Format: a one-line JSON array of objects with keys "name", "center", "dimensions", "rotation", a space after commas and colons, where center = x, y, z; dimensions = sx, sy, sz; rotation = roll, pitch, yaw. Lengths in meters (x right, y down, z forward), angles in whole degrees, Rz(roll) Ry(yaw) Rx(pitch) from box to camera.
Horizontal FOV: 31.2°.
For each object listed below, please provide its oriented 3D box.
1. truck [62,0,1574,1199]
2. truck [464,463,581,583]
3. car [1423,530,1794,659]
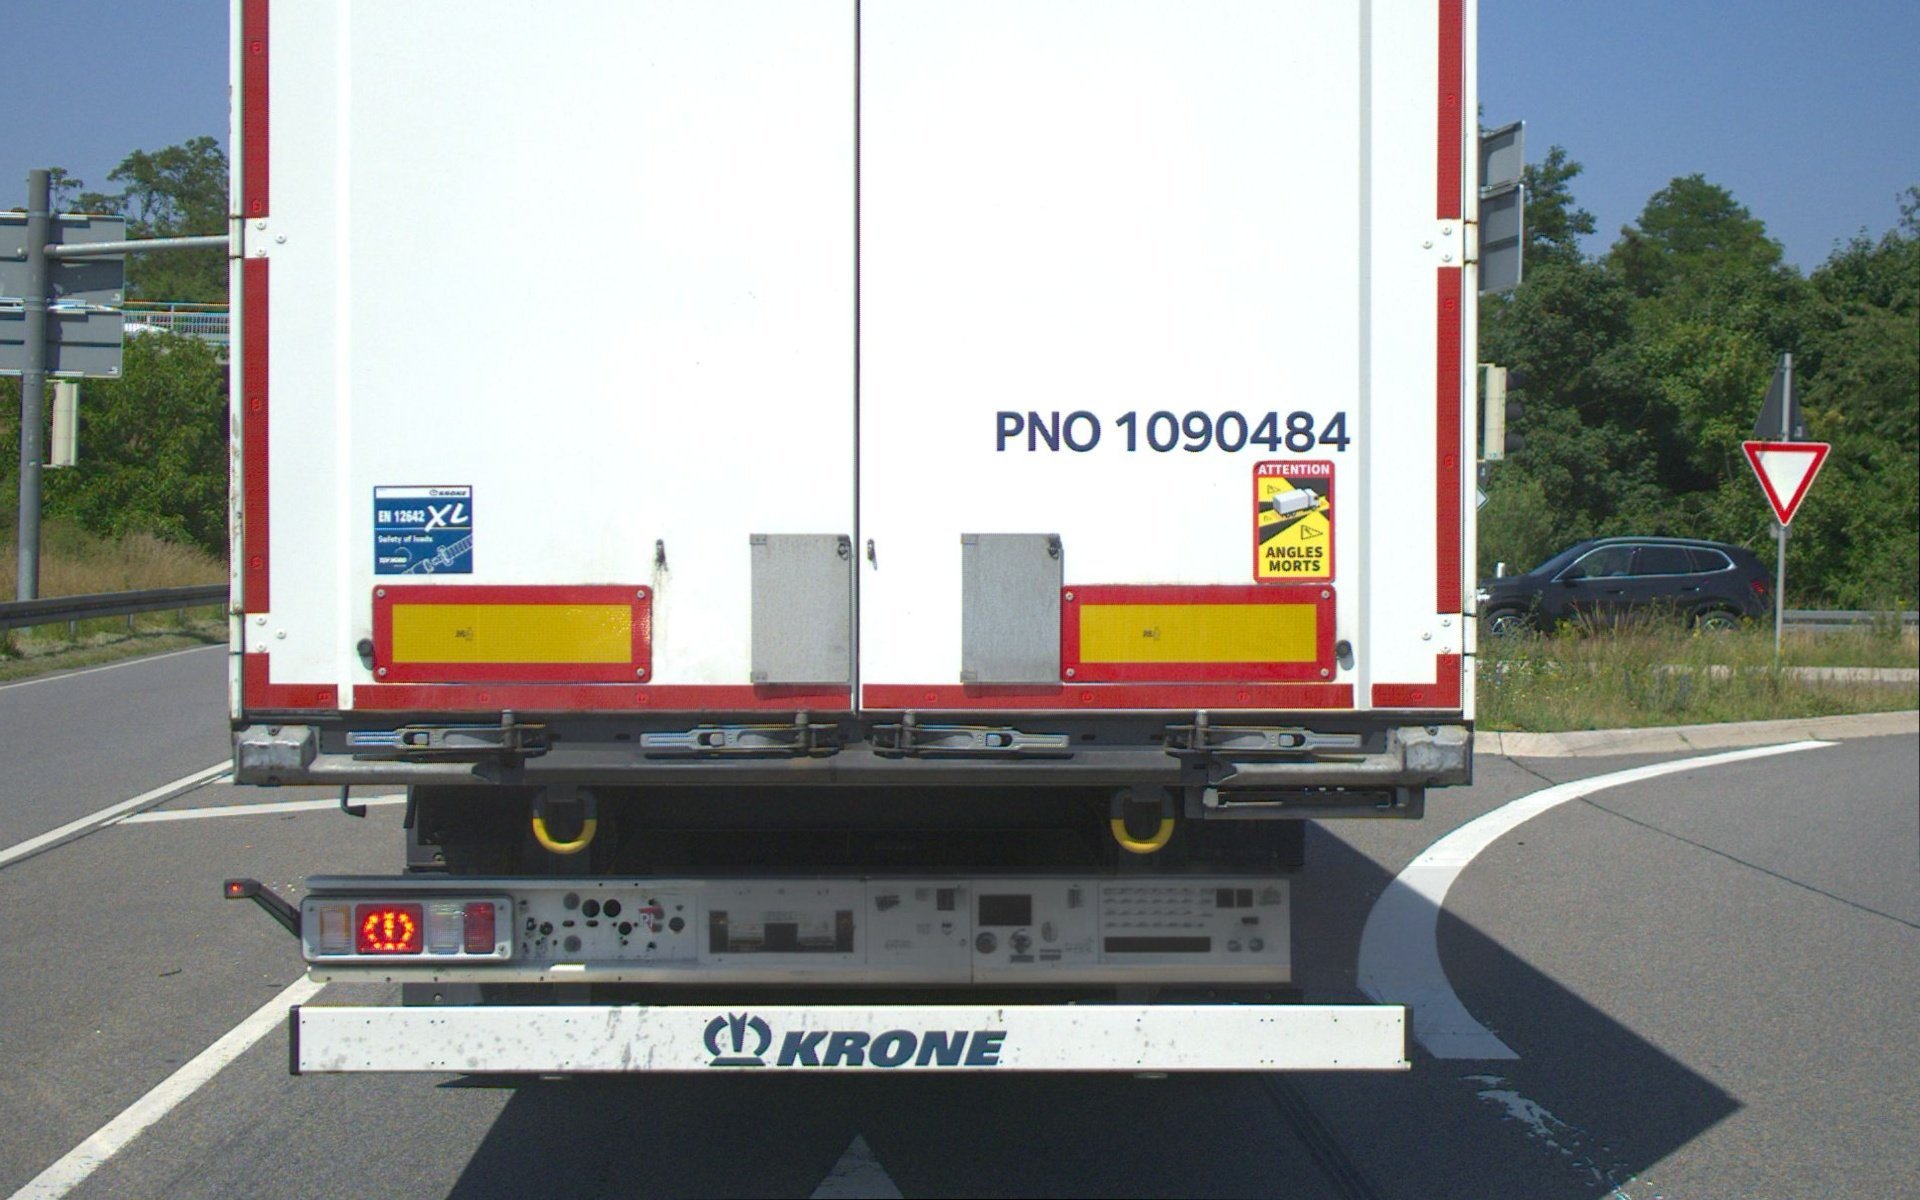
[{"name": "truck", "center": [-0.378, -0.658, 11.773], "dimensions": [2.987, 3.928, 9.876], "rotation": [1, 1, -1]}, {"name": "truck", "center": [-13.387, -2.301, 105.681], "dimensions": [2.644, 3.526, 7.890], "rotation": [1, 0, -1]}, {"name": "car", "center": [8.328, -0.078, 44.430], "dimensions": [4.486, 1.592, 1.767], "rotation": [1, 0, 2]}]
